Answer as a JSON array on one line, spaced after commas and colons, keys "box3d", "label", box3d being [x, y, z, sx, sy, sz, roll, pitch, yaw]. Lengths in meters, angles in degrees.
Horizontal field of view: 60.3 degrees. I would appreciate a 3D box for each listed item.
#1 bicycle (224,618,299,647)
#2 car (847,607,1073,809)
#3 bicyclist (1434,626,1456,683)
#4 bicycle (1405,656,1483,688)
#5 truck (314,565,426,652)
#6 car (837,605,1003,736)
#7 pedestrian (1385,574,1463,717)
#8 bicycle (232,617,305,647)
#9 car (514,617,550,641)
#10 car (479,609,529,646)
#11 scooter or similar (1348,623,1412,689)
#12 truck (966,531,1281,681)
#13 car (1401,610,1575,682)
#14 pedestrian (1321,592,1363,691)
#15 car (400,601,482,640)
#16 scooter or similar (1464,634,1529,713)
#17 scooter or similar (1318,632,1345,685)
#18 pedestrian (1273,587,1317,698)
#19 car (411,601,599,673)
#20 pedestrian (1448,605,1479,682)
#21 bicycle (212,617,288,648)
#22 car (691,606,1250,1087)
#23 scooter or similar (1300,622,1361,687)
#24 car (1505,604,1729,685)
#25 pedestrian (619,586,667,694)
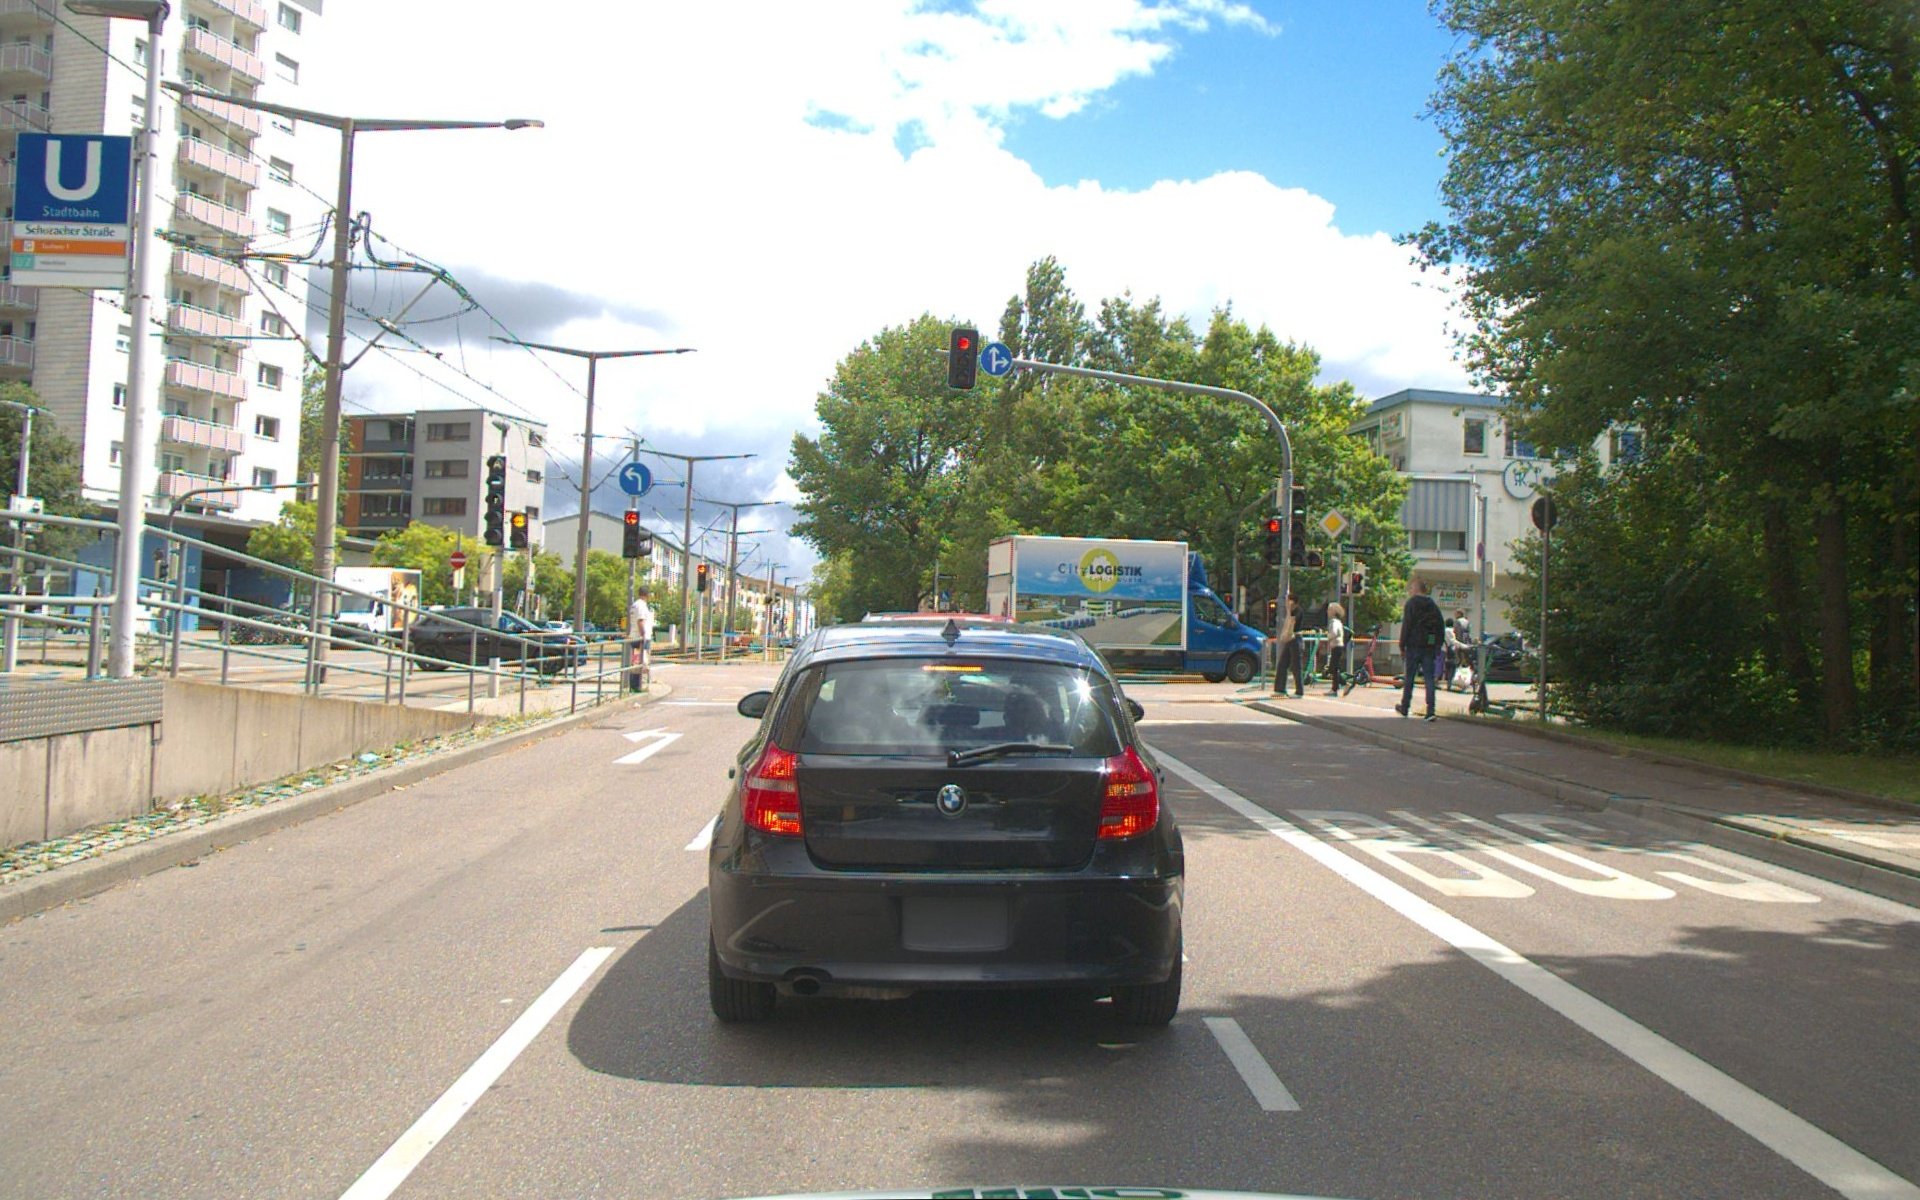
[{"box3d": [-26.538, 1.241, 62.821, 2.528, 1.026, 0.748, 3, -3, -29], "label": "bicycle"}, {"box3d": [-0.024, 0.788, 13.613, 1.605, 1.424, 3.419, 1, 0, -1], "label": "car"}, {"box3d": [10.291, 1.152, 35.079, 0.390, 1.177, 0.503, 3, 0, 18], "label": "bicyclist"}, {"box3d": [10.253, 1.530, 35.052, 1.552, 0.620, 0.534, 1, 0, 20], "label": "bicycle"}, {"box3d": [-23.052, 0.358, 64.977, 2.237, 3.172, 7.311, 2, -1, -5], "label": "truck"}, {"box3d": [-0.481, 0.814, 21.075, 1.862, 1.447, 4.538, 1, 0, -1], "label": "car"}, {"box3d": [6.361, 0.608, 22.716, 0.779, 1.909, 1.013, 1, -1, 1], "label": "pedestrian"}, {"box3d": [-26.711, 1.243, 63.920, 2.528, 1.026, 0.748, 3, -3, -29], "label": "bicycle"}, {"box3d": [-28.809, 1.941, 111.444, 1.559, 1.500, 3.773, 2, -1, -2], "label": "car"}, {"box3d": [-23.228, 1.395, 84.285, 1.559, 1.787, 3.773, 2, -1, -2], "label": "car"}, {"box3d": [8.608, 1.144, 33.919, 1.127, 1.294, 0.555, 2, -1, 1], "label": "scooter or similar"}, {"box3d": [3.939, 0.190, 40.176, 7.147, 3.407, 2.598, 1, -1, -15], "label": "truck"}, {"box3d": [15.433, 1.316, 48.444, 4.451, 2.049, 1.996, 0, 0, -9], "label": "car"}, {"box3d": [7.062, 0.762, 30.569, 0.623, 1.797, 0.518, 1, -1, -1], "label": "pedestrian"}, {"box3d": [-27.897, 1.113, 88.949, 3.893, 2.009, 1.630, 1, -1, -43], "label": "car"}, {"box3d": [9.307, 1.270, 28.696, 0.872, 1.251, 0.454, 6, -1, -1], "label": "scooter or similar"}, {"box3d": [7.868, 1.222, 34.994, 0.536, 1.082, 1.263, 1, 0, 13], "label": "scooter or similar"}, {"box3d": [5.839, 0.734, 28.842, 0.623, 1.909, 0.518, 1, -1, -1], "label": "pedestrian"}, {"box3d": [-10.118, 0.817, 37.068, 3.918, 1.512, 1.841, 1, 0, -13], "label": "car"}, {"box3d": [11.468, 0.981, 37.653, 0.643, 1.743, 0.462, 1, -1, 20], "label": "pedestrian"}, {"box3d": [-26.444, 1.218, 61.621, 2.528, 1.026, 0.748, 3, -3, -29], "label": "bicycle"}, {"box3d": [0.012, 0.756, 6.711, 1.666, 1.424, 3.419, 1, 0, -1], "label": "car"}, {"box3d": [7.404, 1.091, 33.105, 1.087, 1.257, 0.539, 1, -1, 1], "label": "scooter or similar"}, {"box3d": [16.900, 1.137, 42.627, 5.076, 1.926, 1.995, 1, -1, -10], "label": "car"}, {"box3d": [-5.263, 0.656, 27.489, 0.674, 1.764, 0.687, 1, -1, -5], "label": "pedestrian"}]
